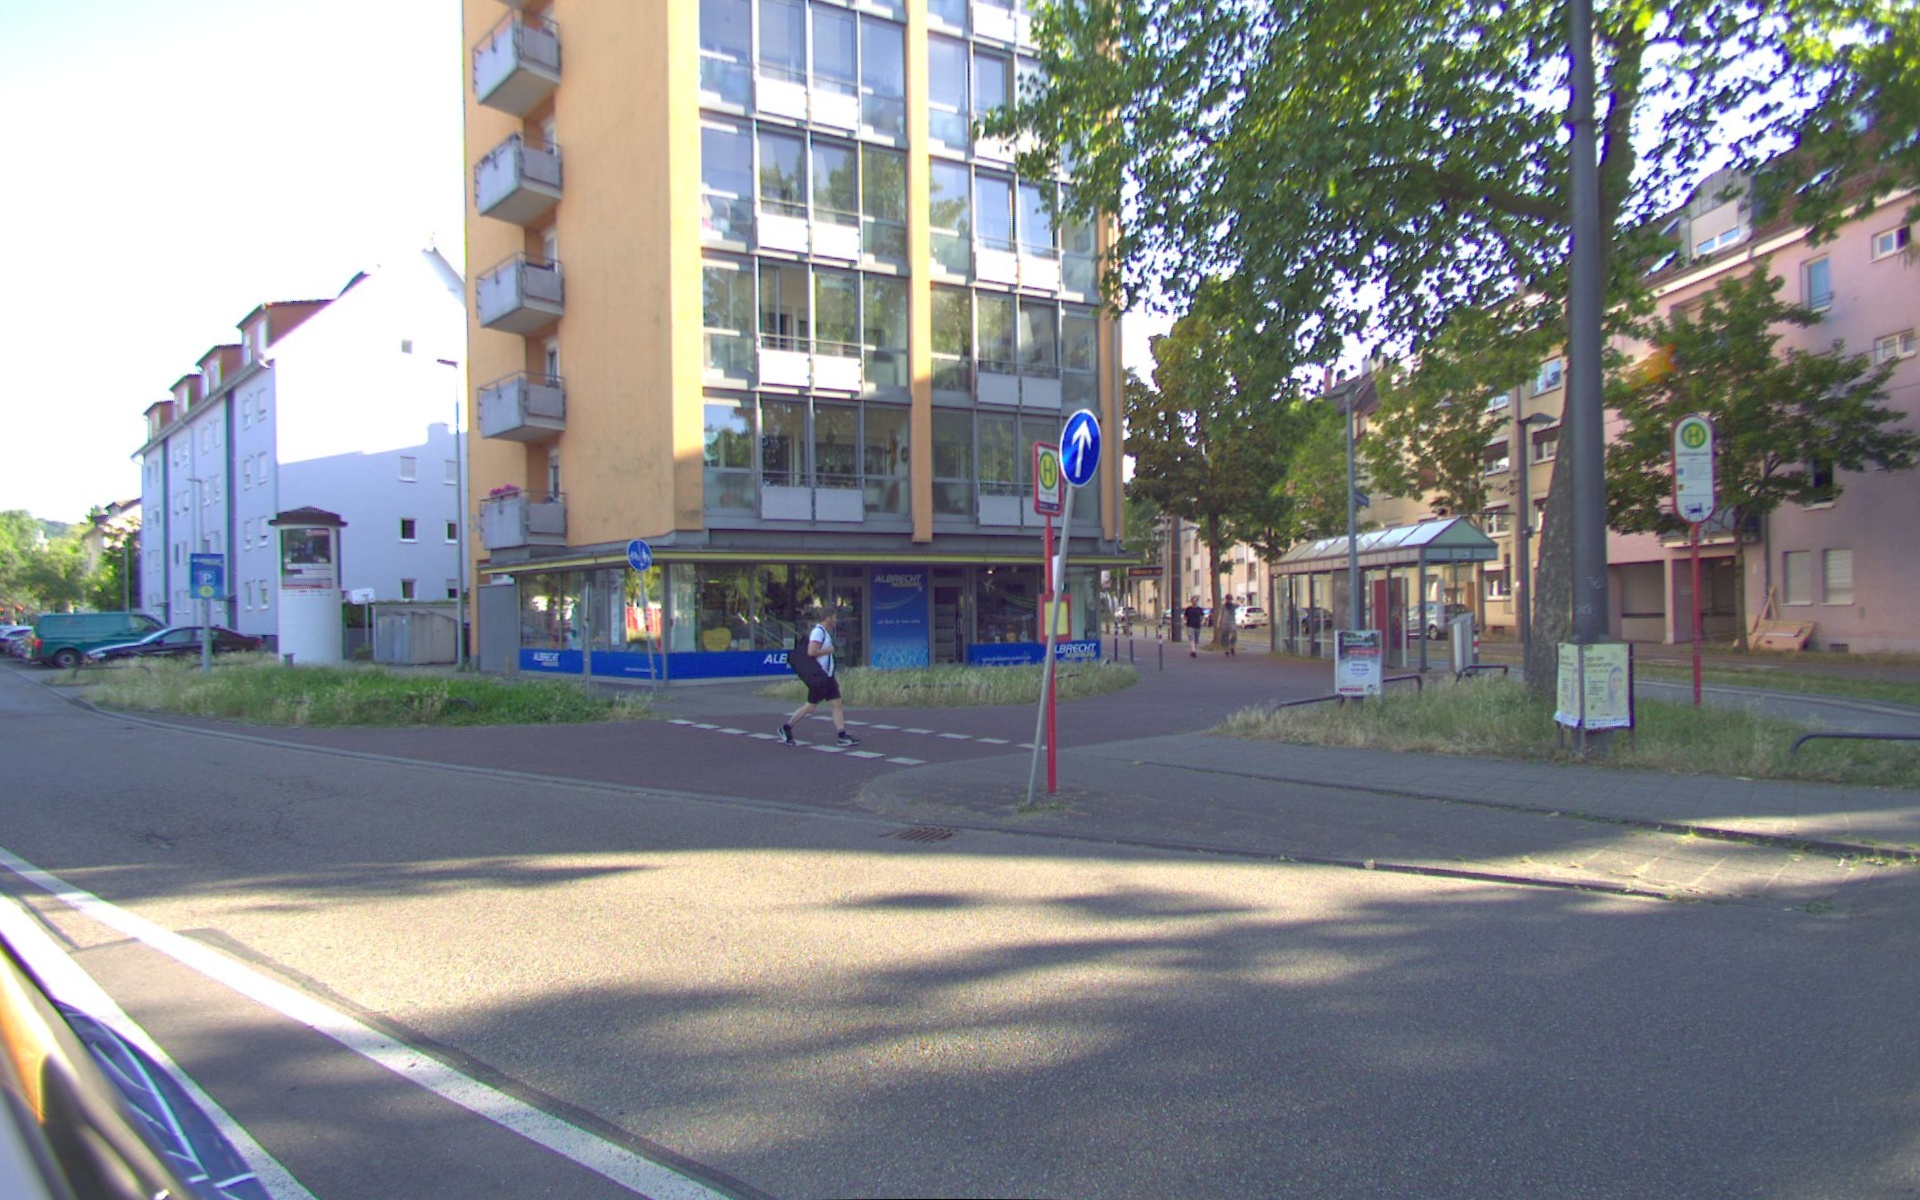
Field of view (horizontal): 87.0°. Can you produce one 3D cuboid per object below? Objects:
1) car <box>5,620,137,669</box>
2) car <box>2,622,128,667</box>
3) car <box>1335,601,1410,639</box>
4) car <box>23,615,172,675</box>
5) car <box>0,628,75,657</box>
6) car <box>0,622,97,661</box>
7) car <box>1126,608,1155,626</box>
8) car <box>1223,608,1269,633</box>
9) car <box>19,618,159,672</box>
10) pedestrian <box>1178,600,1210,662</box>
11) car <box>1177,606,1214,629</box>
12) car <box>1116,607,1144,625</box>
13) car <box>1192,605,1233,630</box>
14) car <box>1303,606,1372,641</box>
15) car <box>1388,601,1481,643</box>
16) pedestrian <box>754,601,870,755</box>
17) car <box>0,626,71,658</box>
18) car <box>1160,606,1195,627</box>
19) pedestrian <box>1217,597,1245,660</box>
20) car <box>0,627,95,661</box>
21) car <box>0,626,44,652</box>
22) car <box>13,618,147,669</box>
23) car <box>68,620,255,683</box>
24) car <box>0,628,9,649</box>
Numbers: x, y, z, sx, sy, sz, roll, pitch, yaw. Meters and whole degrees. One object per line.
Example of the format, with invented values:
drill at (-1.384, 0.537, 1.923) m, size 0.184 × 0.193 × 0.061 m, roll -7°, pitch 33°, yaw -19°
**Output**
car at (-36.863, 1.813, 42.018) m, size 4.003 × 1.829 × 1.938 m, roll -1°, pitch 0°, yaw -44°
car at (-38.832, 1.871, 43.936) m, size 4.016 × 1.765 × 1.900 m, roll -1°, pitch 0°, yaw -44°
car at (19.901, 0.925, 48.992) m, size 1.911 × 1.719 × 3.827 m, roll -1°, pitch 0°, yaw -3°
car at (-31.220, 1.563, 36.694) m, size 2.001 × 1.962 × 3.942 m, roll -1°, pitch 0°, yaw 44°
car at (-55.664, 2.509, 60.388) m, size 4.199 × 1.585 × 1.867 m, roll -1°, pitch 0°, yaw -44°
car at (-46.122, 2.044, 50.873) m, size 4.061 × 1.785 × 1.758 m, roll -1°, pitch 0°, yaw -44°
car at (17.780, 1.648, 99.878) m, size 1.911 × 1.719 × 4.003 m, roll -1°, pitch 0°, yaw -3°
car at (19.167, 1.355, 68.057) m, size 1.741 × 1.588 × 4.049 m, roll -1°, pitch 0°, yaw -3°
car at (-33.125, 1.654, 38.538) m, size 3.941 × 1.829 × 2.001 m, roll -1°, pitch 0°, yaw -44°
pedestrian at (6.692, 0.884, 28.933) m, size 0.803 × 1.763 × 0.538 m, roll -1°, pitch 0°, yaw 6°
car at (18.638, 1.361, 80.352) m, size 1.771 × 1.719 × 4.170 m, roll -1°, pitch 0°, yaw -3°
car at (17.730, 1.648, 105.552) m, size 1.911 × 1.719 × 4.372 m, roll -1°, pitch 0°, yaw -3°
car at (18.700, 1.275, 75.162) m, size 1.808 × 1.719 × 4.059 m, roll -1°, pitch 0°, yaw -3°
car at (19.911, 1.210, 53.605) m, size 1.911 × 1.719 × 4.115 m, roll -1°, pitch 0°, yaw -3°
car at (20.741, 0.914, 44.438) m, size 1.911 × 1.719 × 4.115 m, roll -1°, pitch 0°, yaw -3°
pedestrian at (-1.768, 0.899, 12.201) m, size 1.080 × 1.750 × 0.897 m, roll -1°, pitch 0°, yaw 19°
car at (-55.797, 2.479, 60.441) m, size 4.016 × 1.765 × 1.900 m, roll -1°, pitch 0°, yaw -44°
car at (18.427, 1.403, 85.806) m, size 1.830 × 1.719 × 4.170 m, roll -1°, pitch 0°, yaw -3°
pedestrian at (7.632, 0.798, 28.552) m, size 0.622 × 1.763 × 0.689 m, roll -1°, pitch 0°, yaw 6°
car at (-48.125, 2.281, 52.964) m, size 4.199 × 1.585 × 1.867 m, roll -1°, pitch 0°, yaw -44°
car at (-63.500, 2.611, 67.001) m, size 4.199 × 1.585 × 1.867 m, roll -1°, pitch 0°, yaw -44°
car at (-35.125, 1.680, 40.440) m, size 3.941 × 1.829 × 2.001 m, roll -1°, pitch 0°, yaw -44°
car at (-24.277, 1.514, 30.872) m, size 4.361 × 1.674 × 2.003 m, roll -1°, pitch 0°, yaw -41°
car at (-74.763, 2.996, 76.970) m, size 3.490 × 1.585 × 1.867 m, roll -1°, pitch 0°, yaw -44°
